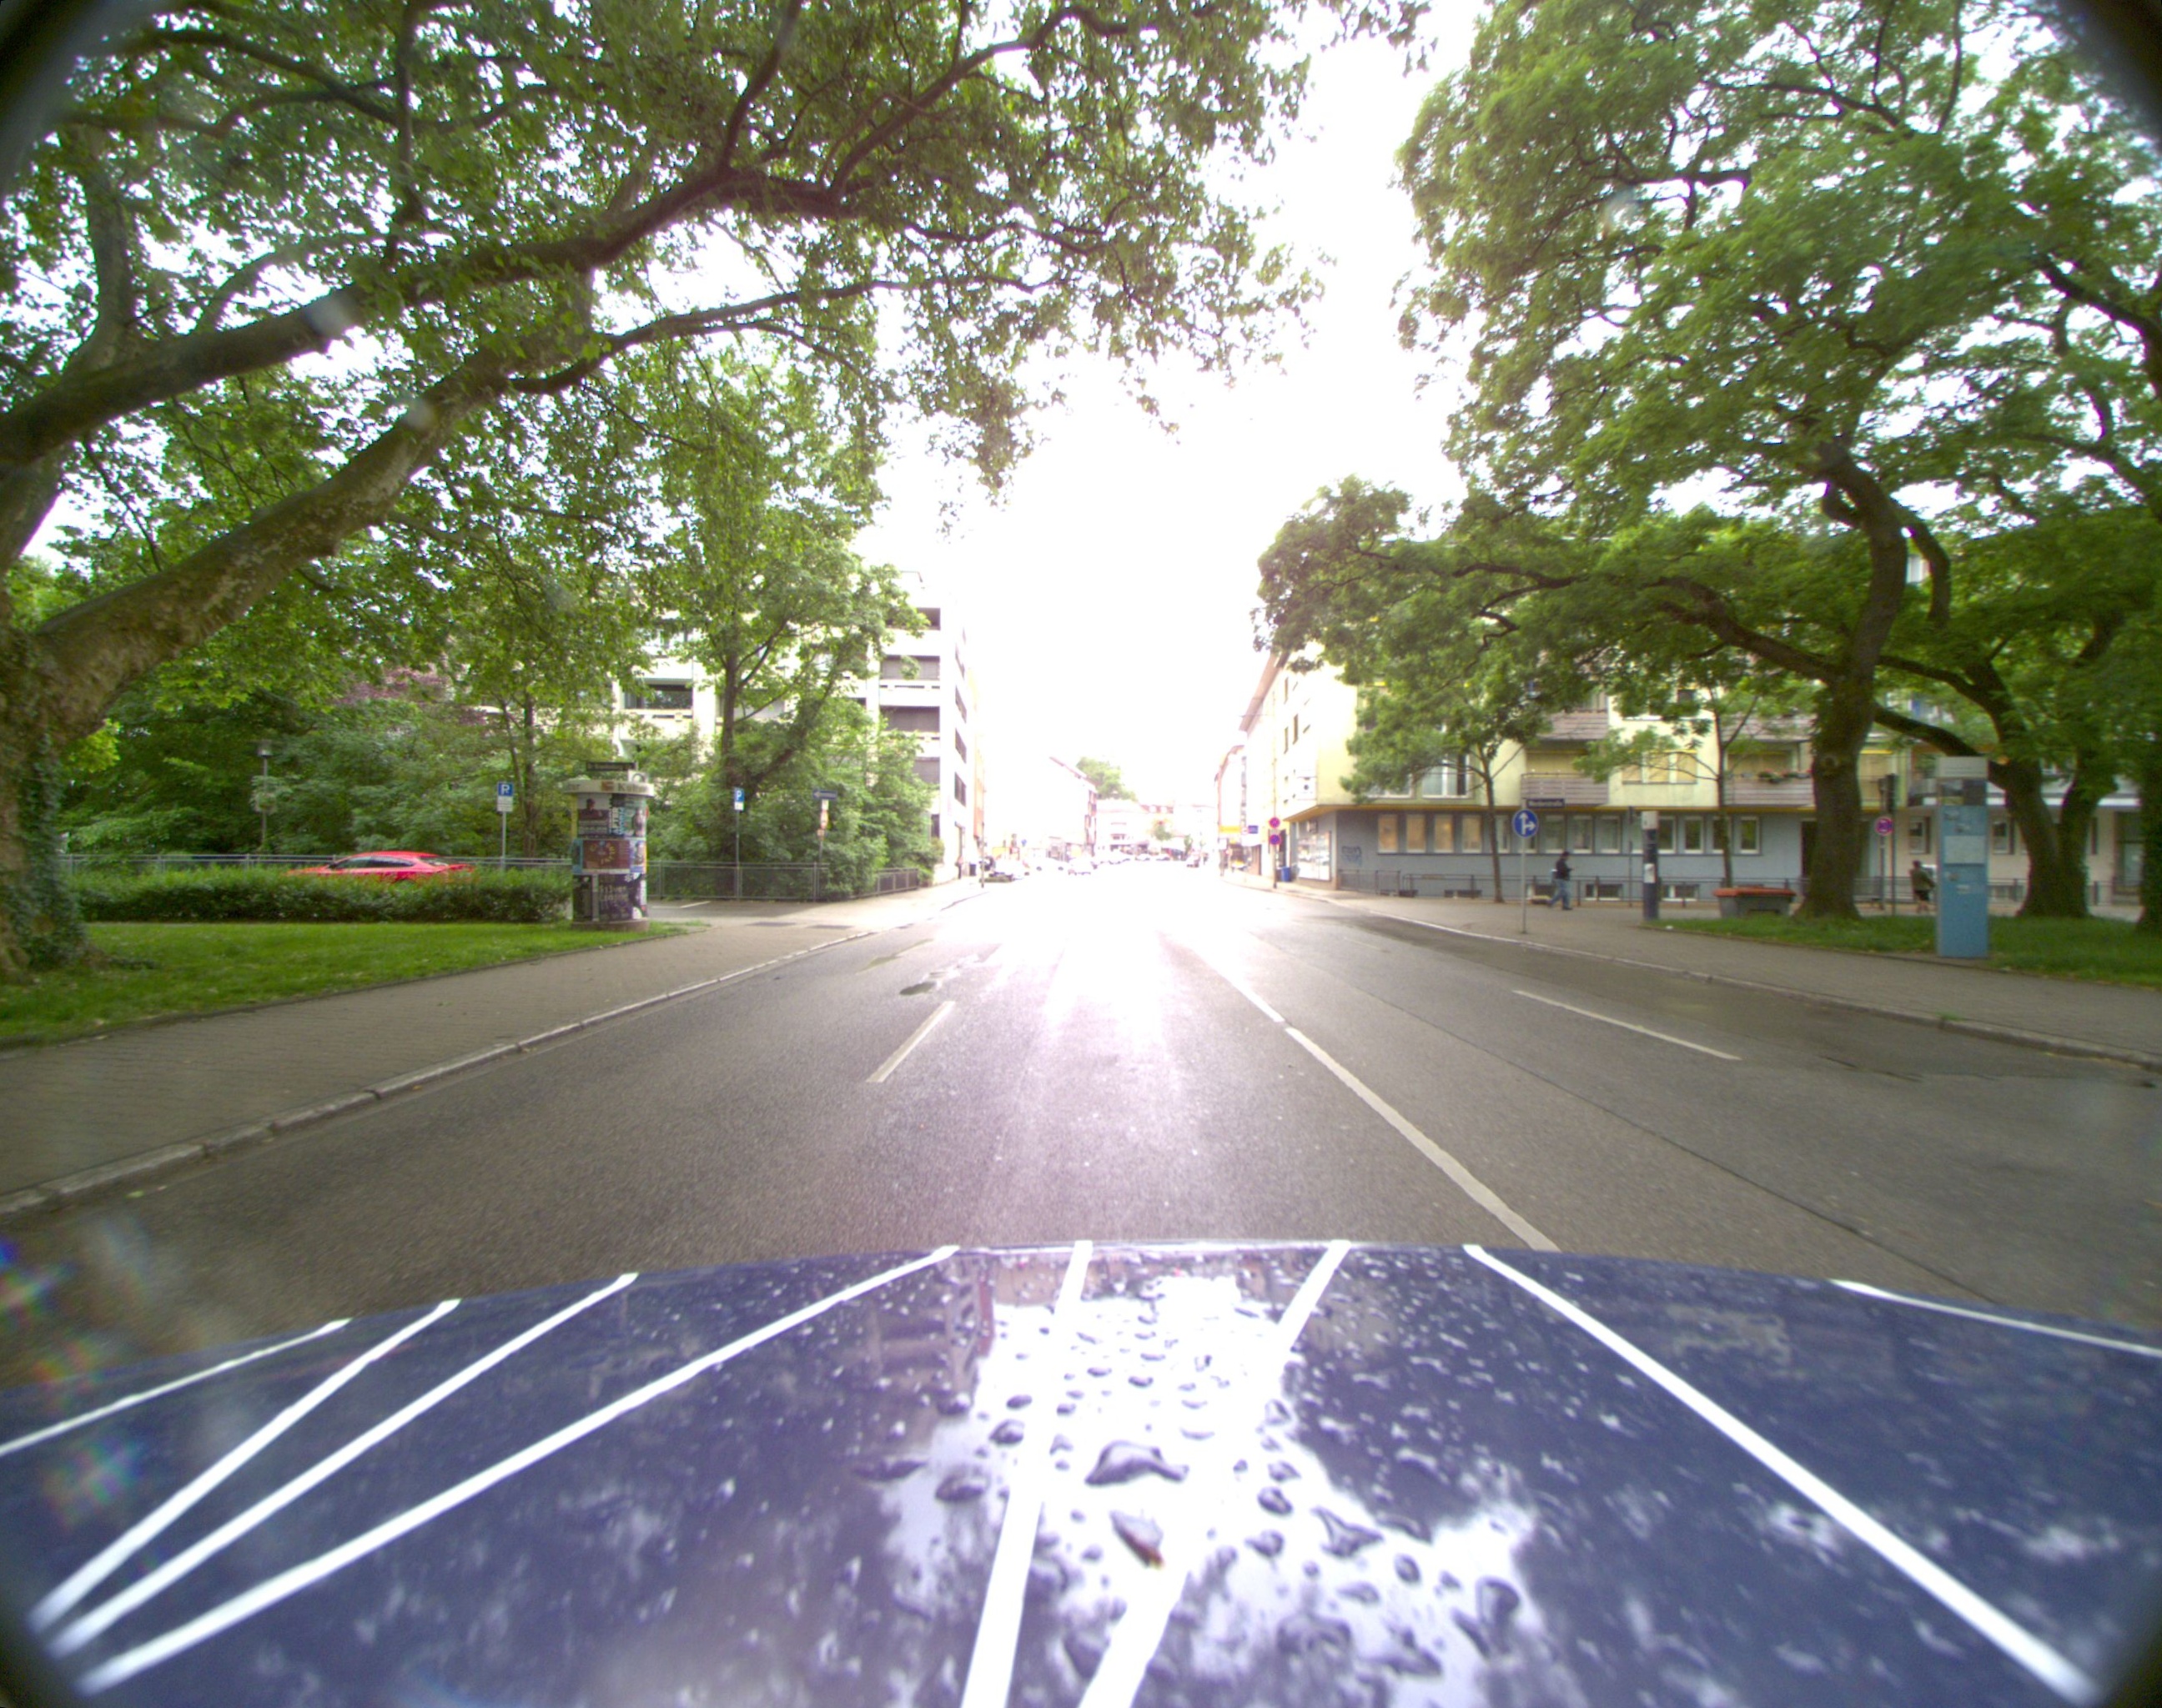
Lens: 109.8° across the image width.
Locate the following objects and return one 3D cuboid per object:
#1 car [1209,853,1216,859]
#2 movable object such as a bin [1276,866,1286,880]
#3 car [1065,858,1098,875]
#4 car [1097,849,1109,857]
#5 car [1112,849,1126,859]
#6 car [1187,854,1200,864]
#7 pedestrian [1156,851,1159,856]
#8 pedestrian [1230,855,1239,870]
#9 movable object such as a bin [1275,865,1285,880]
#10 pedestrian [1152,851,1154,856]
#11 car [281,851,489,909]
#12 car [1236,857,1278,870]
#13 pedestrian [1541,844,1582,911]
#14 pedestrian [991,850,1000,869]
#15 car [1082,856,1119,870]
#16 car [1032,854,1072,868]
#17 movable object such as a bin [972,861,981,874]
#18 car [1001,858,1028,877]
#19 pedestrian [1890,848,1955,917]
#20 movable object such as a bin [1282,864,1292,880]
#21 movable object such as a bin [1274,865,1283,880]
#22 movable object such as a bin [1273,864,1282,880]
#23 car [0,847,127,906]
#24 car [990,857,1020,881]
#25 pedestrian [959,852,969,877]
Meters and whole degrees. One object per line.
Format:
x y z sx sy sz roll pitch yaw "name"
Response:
33.483 0.584 192.966 1.591 1.518 3.492 0 0 14 "car"
12.766 1.203 48.527 0.529 0.890 0.435 -4 0 8 "movable object such as a bin"
0.001 1.243 74.782 1.759 1.559 3.993 -2 0 -23 "car"
4.154 -0.193 142.529 1.736 1.389 3.744 0 0 10 "car"
6.880 -0.010 137.203 2.015 1.754 4.767 1 0 10 "car"
17.977 0.762 121.142 1.834 1.612 4.003 0 0 10 "car"
18.418 -0.189 182.872 0.379 1.283 0.401 0 1 38 "pedestrian"
16.551 0.961 81.959 0.785 1.578 0.674 -2 0 21 "pedestrian"
12.852 1.192 49.118 0.529 0.922 0.426 -4 0 8 "movable object such as a bin"
17.472 -0.162 184.486 0.379 1.283 0.401 0 1 38 "pedestrian"
-19.540 0.716 21.490 3.999 1.473 1.875 1 1 -5 "car"
22.339 1.203 96.406 4.964 1.596 1.563 1 0 5 "car"
14.683 0.694 23.212 0.754 2.002 0.780 0 1 -30 "pedestrian"
-9.337 0.594 82.943 0.806 2.140 0.737 0 1 -23 "pedestrian"
2.440 1.112 96.353 4.560 1.559 1.758 -2 0 4 "car"
-3.515 0.857 93.213 4.687 1.559 1.758 -2 0 2 "car"
-8.589 1.087 62.613 0.681 1.097 0.514 0 0 -1 "movable object such as a bin"
-5.196 1.052 60.127 1.835 1.412 4.569 1 0 -1 "car"
23.889 0.797 21.587 0.918 1.913 0.820 0 0 6 "pedestrian"
12.986 1.154 47.905 0.529 0.955 0.435 -4 0 8 "movable object such as a bin"
12.882 1.197 49.562 0.465 0.922 0.428 -4 0 8 "movable object such as a bin"
13.015 1.181 50.335 0.517 0.994 0.524 -4 0 8 "movable object such as a bin"
-29.752 0.589 21.168 3.932 1.561 1.735 1 0 -4 "car"
-5.307 1.011 53.400 1.706 1.549 3.804 1 0 -1 "car"
-8.009 0.729 52.101 0.599 1.650 0.691 3 0 -7 "pedestrian"
